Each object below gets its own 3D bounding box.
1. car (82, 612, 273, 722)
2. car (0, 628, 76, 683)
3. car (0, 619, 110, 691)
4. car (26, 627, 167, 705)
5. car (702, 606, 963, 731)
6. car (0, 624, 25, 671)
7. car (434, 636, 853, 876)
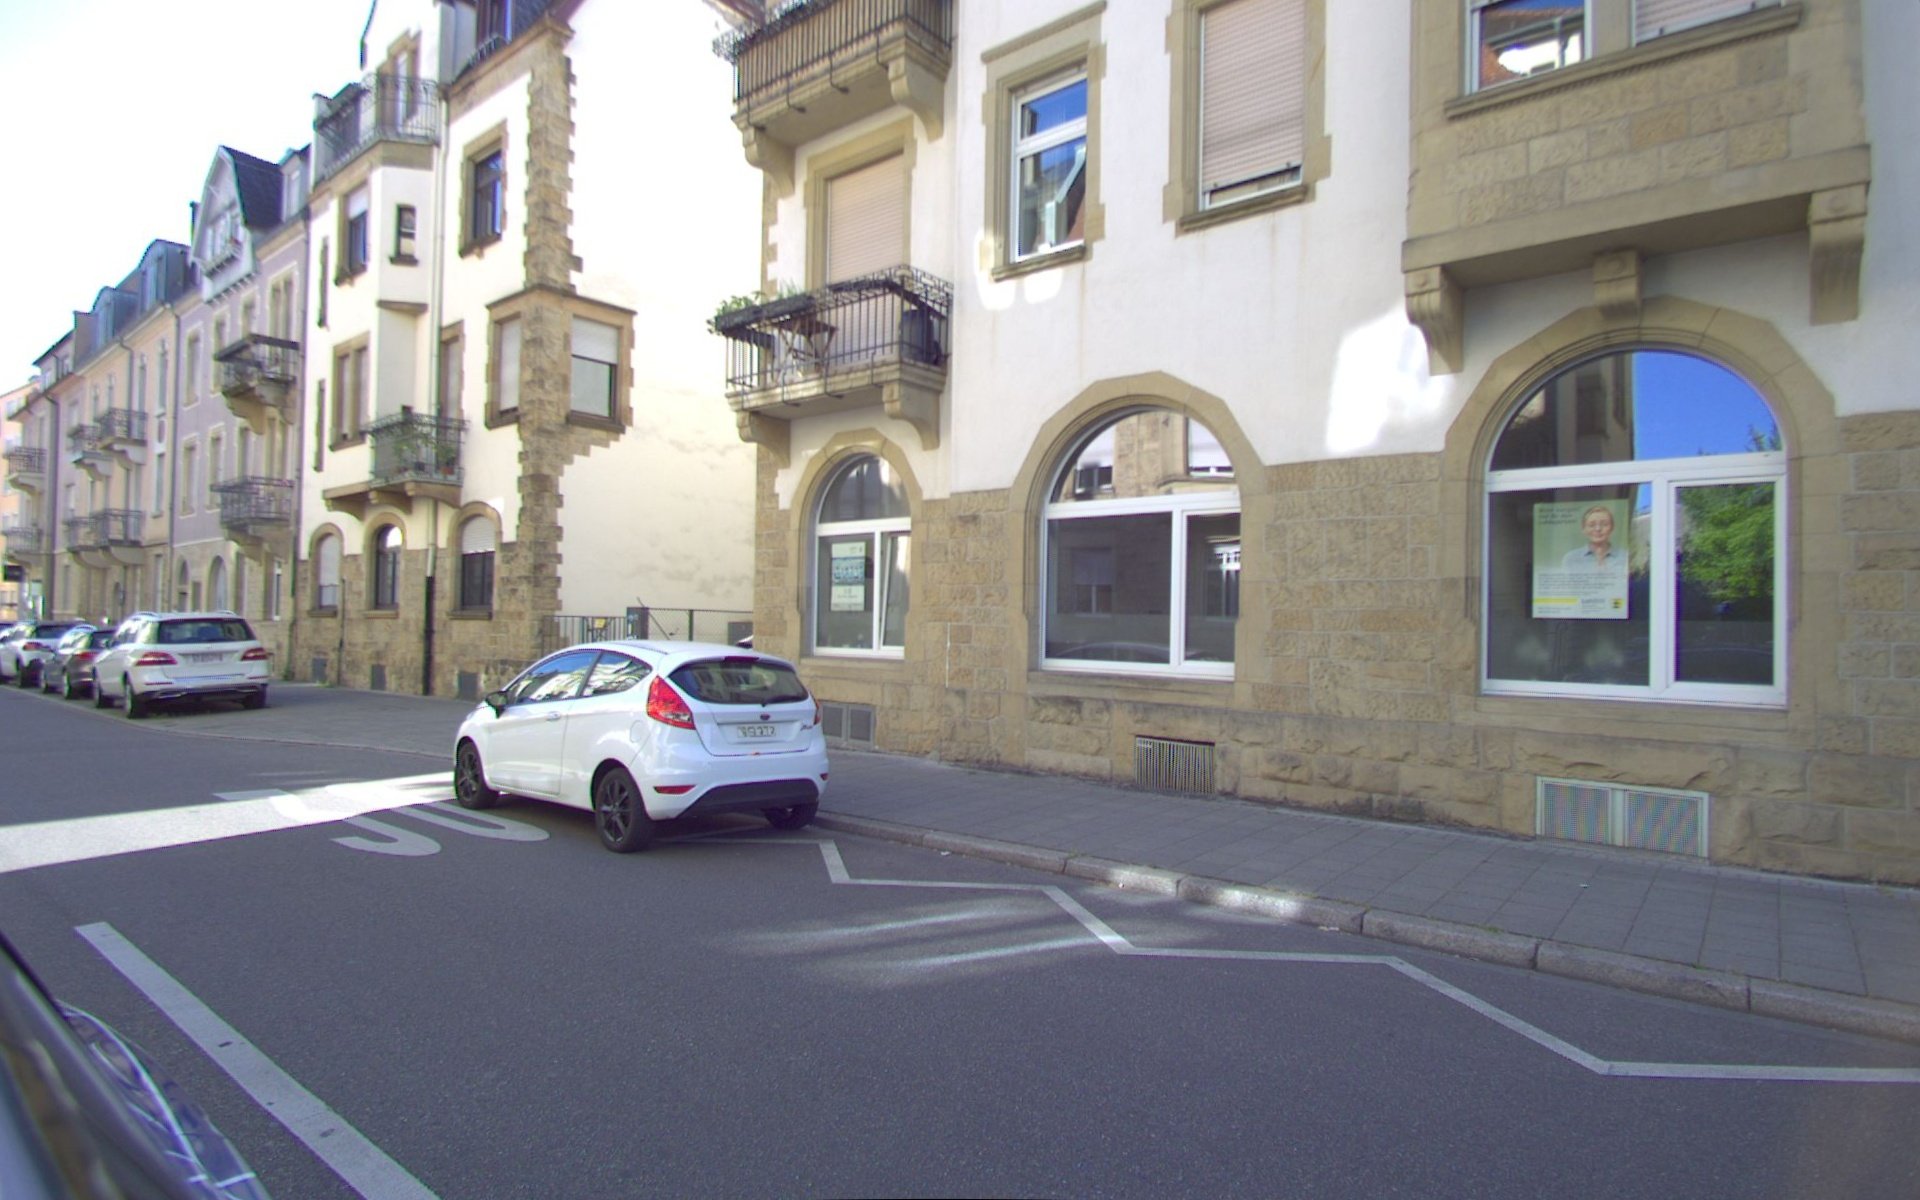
[{"bbox_3d":[-14.126,1.109,18.168,4.724,1.735,1.872,-1,-2,42],"label":"car"},{"bbox_3d":[-26.863,1.534,28.859,3.658,1.404,1.658,-1,1,36],"label":"car"},{"bbox_3d":[-22.855,1.325,25.271,4.015,1.595,1.698,-1,1,38],"label":"car"},{"bbox_3d":[-18.621,1.338,21.774,4.275,1.498,1.558,-1,-1,39],"label":"car"},{"bbox_3d":[-1.931,1.051,16.321,1.908,1.741,3.928,-2,-3,40],"label":"car"},{"bbox_3d":[-33.055,1.591,34.122,3.719,1.550,1.698,-1,-2,38],"label":"car"},{"bbox_3d":[-2.721,1.050,8.277,3.734,1.475,1.616,-1,-2,43],"label":"car"}]
